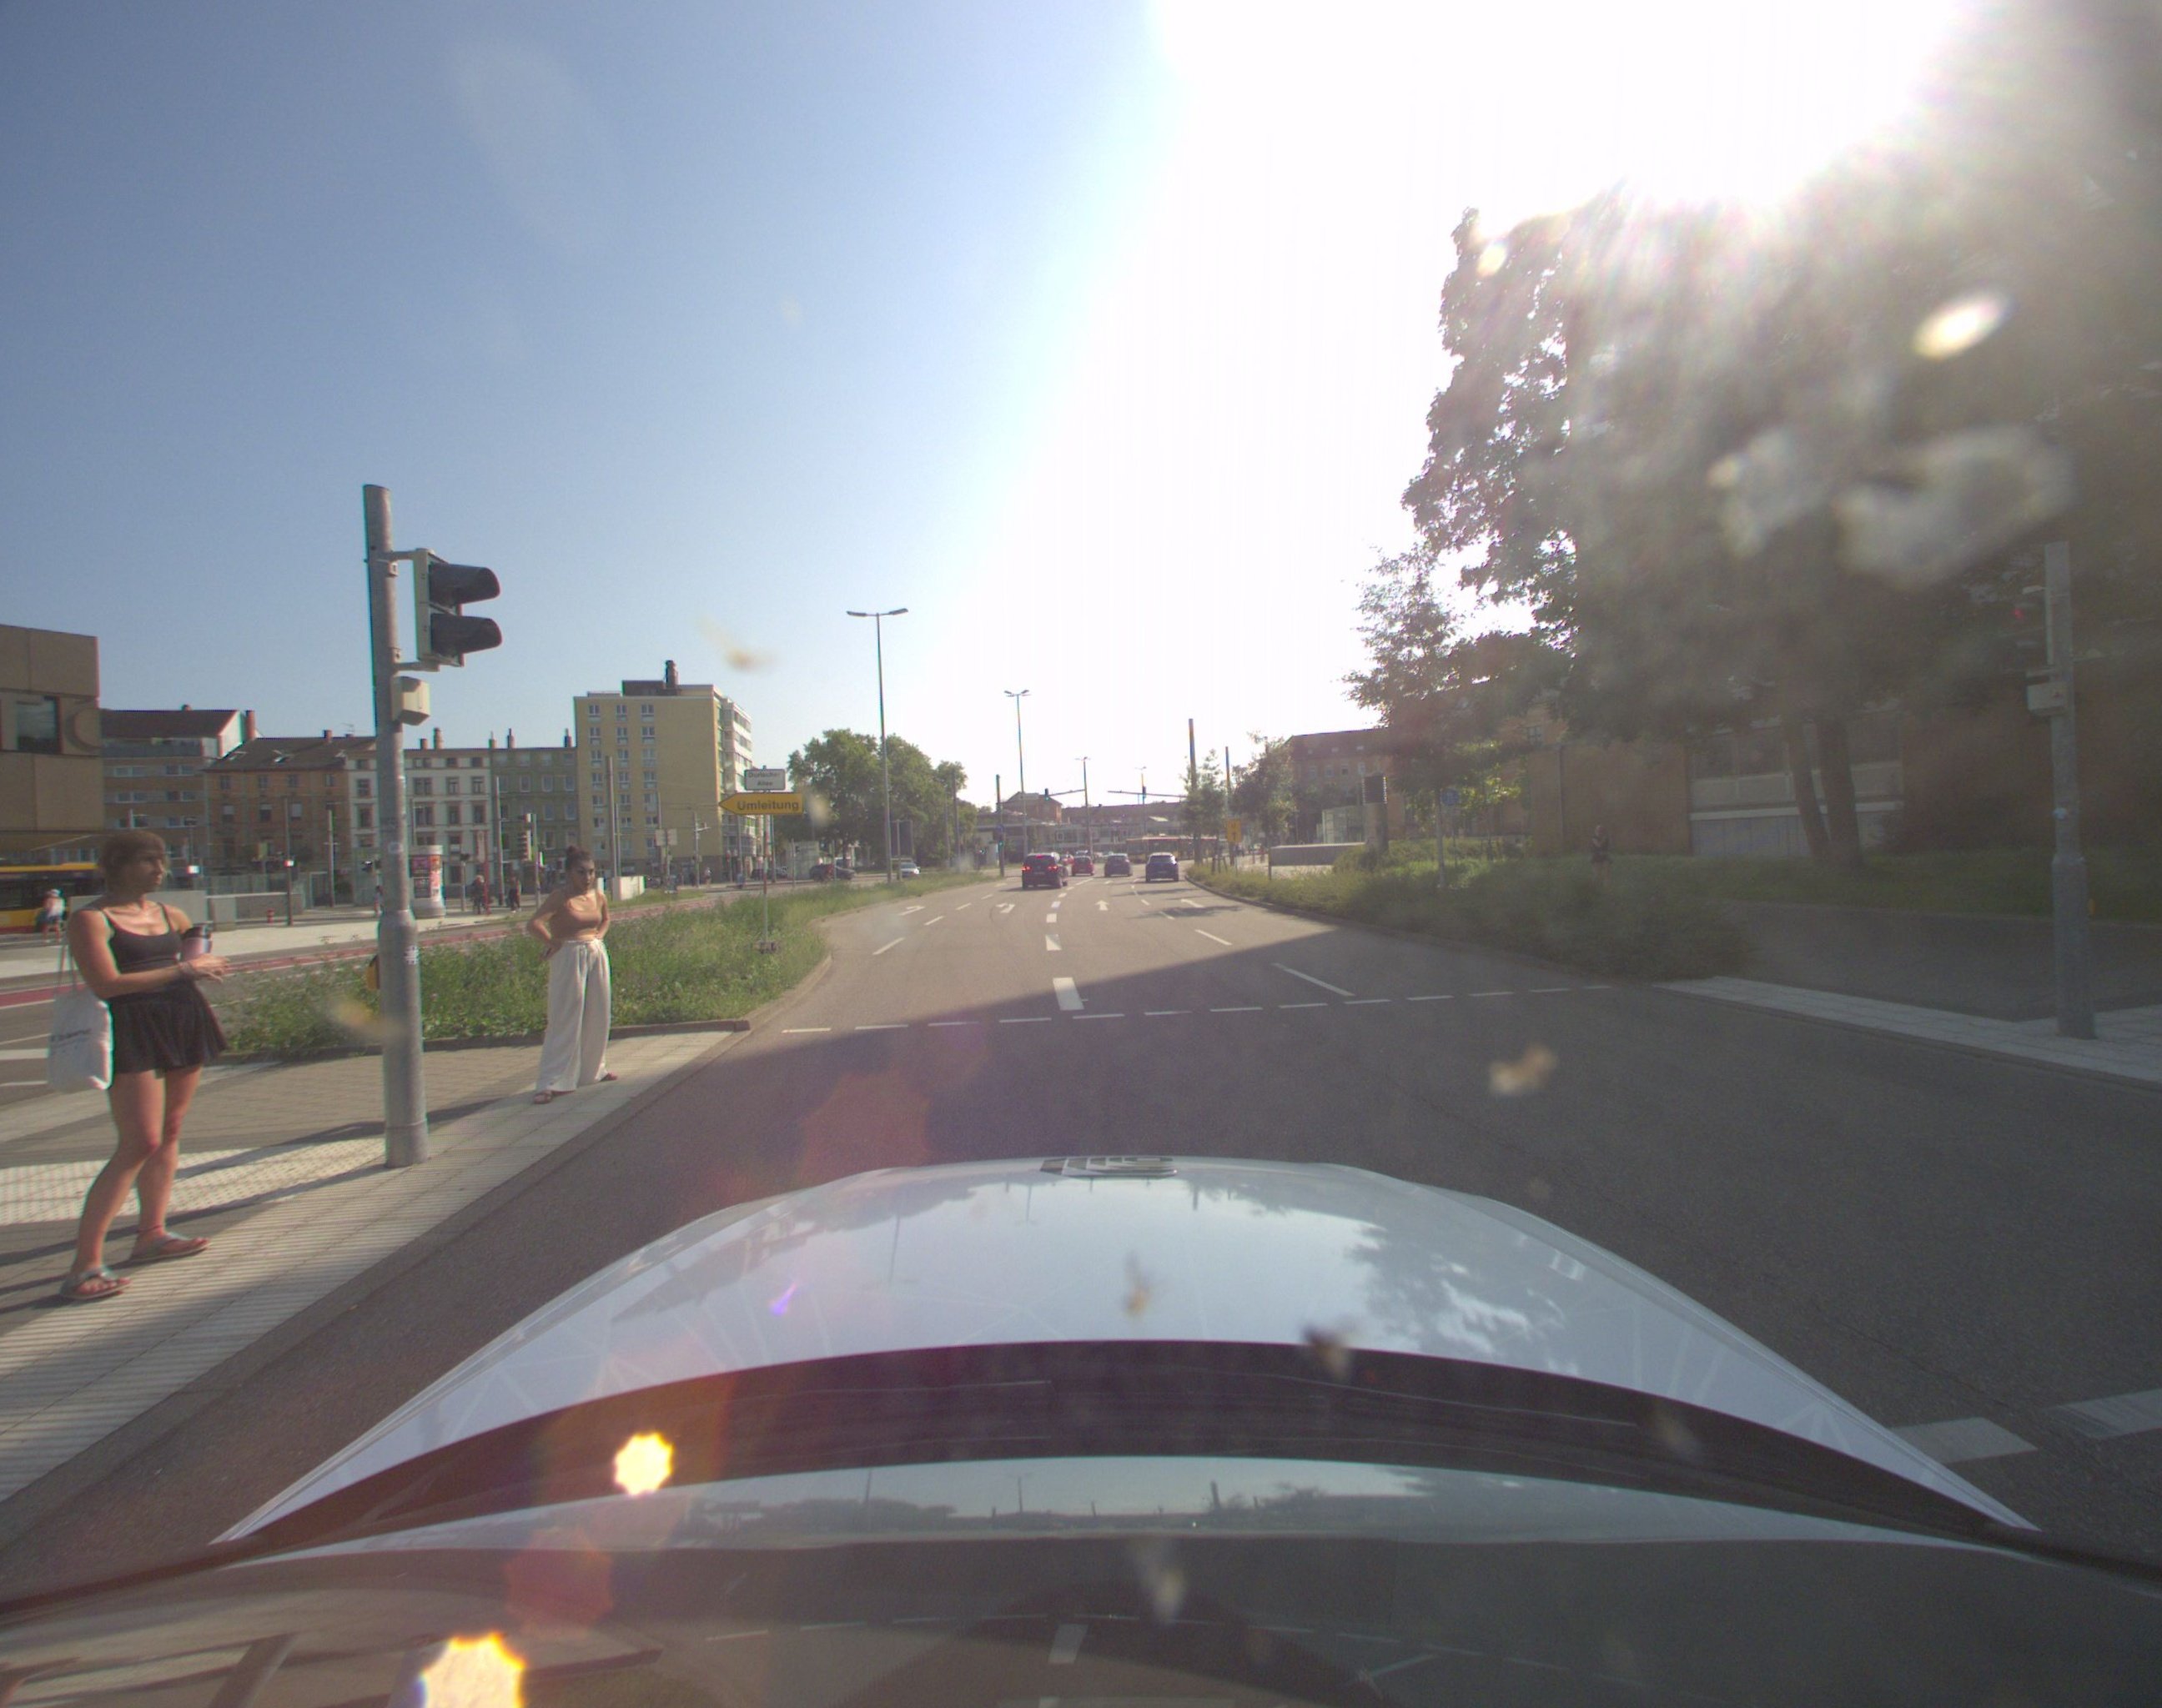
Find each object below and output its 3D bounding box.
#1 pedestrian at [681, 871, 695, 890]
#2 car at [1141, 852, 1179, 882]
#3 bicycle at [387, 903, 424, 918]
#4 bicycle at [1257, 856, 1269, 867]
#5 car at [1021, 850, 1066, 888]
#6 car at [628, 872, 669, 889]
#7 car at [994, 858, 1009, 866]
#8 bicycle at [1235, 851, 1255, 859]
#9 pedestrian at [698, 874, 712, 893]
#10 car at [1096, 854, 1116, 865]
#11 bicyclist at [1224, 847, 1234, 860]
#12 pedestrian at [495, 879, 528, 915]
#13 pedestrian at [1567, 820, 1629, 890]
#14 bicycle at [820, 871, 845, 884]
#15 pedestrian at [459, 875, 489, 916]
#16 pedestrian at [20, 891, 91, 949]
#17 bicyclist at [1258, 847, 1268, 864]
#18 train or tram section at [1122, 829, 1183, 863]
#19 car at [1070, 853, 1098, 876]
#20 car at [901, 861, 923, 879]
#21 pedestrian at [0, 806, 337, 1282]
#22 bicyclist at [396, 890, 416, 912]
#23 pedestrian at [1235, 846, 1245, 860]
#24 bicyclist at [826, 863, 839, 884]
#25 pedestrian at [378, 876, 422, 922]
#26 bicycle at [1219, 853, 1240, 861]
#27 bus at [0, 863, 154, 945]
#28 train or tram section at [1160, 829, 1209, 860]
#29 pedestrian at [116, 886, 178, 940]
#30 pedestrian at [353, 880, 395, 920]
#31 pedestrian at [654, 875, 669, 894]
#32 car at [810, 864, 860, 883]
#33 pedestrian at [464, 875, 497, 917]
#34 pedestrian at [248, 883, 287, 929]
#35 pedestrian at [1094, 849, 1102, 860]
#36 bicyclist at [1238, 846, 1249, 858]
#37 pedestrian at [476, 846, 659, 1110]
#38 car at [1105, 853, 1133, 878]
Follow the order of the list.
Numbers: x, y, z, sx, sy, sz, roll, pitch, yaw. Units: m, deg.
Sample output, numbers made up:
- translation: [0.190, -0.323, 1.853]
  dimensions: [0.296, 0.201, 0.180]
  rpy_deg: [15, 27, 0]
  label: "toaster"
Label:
- translation: [-36.479, 2.429, 75.628]
  dimensions: [0.923, 1.690, 0.918]
  rpy_deg: [-2, 0, -13]
  label: "pedestrian"
- translation: [4.318, 0.682, 44.905]
  dimensions: [1.818, 1.428, 4.415]
  rpy_deg: [-3, 0, 3]
  label: "car"
- translation: [-47.530, 3.982, 57.317]
  dimensions: [1.811, 0.932, 0.724]
  rpy_deg: [-3, 0, -7]
  label: "bicycle"
- translation: [16.347, 0.649, 73.084]
  dimensions: [0.713, 0.959, 1.931]
  rpy_deg: [-3, 0, 20]
  label: "bicycle"
- translation: [-1.790, 0.682, 40.120]
  dimensions: [1.818, 1.714, 4.415]
  rpy_deg: [-1, 0, 3]
  label: "car"
- translation: [-47.500, 2.939, 89.356]
  dimensions: [4.491, 1.678, 2.013]
  rpy_deg: [-2, 0, 33]
  label: "car"
- translation: [-14.722, 1.462, 151.275]
  dimensions: [1.689, 1.522, 4.110]
  rpy_deg: [-2, 0, 9]
  label: "car"
- translation: [22.996, 0.124, 114.332]
  dimensions: [2.627, 0.964, 1.086]
  rpy_deg: [-3, 0, -20]
  label: "bicycle"
- translation: [-34.990, 2.739, 75.808]
  dimensions: [0.923, 1.690, 0.918]
  rpy_deg: [-2, 0, -13]
  label: "pedestrian"
- translation: [3.658, 0.749, 119.620]
  dimensions: [1.601, 1.475, 4.020]
  rpy_deg: [-5, -1, 19]
  label: "car"
- translation: [20.548, -0.036, 112.918]
  dimensions: [0.937, 1.799, 1.086]
  rpy_deg: [-3, 0, -19]
  label: "bicyclist"
- translation: [-26.066, 1.955, 37.276]
  dimensions: [0.855, 1.559, 0.996]
  rpy_deg: [-3, 0, 38]
  label: "pedestrian"
- translation: [11.058, 0.020, 17.453]
  dimensions: [0.722, 1.443, 0.857]
  rpy_deg: [-3, 0, 1]
  label: "pedestrian"
- translation: [-20.624, 1.968, 67.638]
  dimensions: [1.811, 0.932, 0.724]
  rpy_deg: [-3, 0, -7]
  label: "bicycle"
- translation: [-27.614, 1.865, 37.070]
  dimensions: [0.776, 1.800, 0.700]
  rpy_deg: [-3, 0, -4]
  label: "pedestrian"
- translation: [-31.826, 2.023, 25.283]
  dimensions: [0.986, 1.672, 0.863]
  rpy_deg: [-3, 0, -9]
  label: "pedestrian"
- translation: [16.341, 0.150, 73.111]
  dimensions: [0.713, 1.513, 1.009]
  rpy_deg: [-3, 0, 20]
  label: "bicyclist"
- translation: [8.636, -1.022, 96.841]
  dimensions: [2.629, 3.699, 10.657]
  rpy_deg: [-3, 0, 31]
  label: "train or tram section"
- translation: [0.249, 0.754, 61.685]
  dimensions: [1.818, 1.535, 4.415]
  rpy_deg: [-3, 0, 3]
  label: "car"
- translation: [-14.602, 1.380, 70.365]
  dimensions: [1.815, 1.433, 4.207]
  rpy_deg: [-3, 0, -12]
  label: "car"
- translation: [-3.725, 0.689, 3.329]
  dimensions: [0.666, 1.699, 0.690]
  rpy_deg: [-3, 0, -7]
  label: "pedestrian"
- translation: [-47.516, 3.305, 57.325]
  dimensions: [0.793, 1.527, 0.724]
  rpy_deg: [-3, 0, -7]
  label: "bicyclist"
- translation: [21.793, -0.129, 111.692]
  dimensions: [0.932, 1.797, 0.850]
  rpy_deg: [-3, 0, -37]
  label: "pedestrian"
- translation: [-20.626, 1.622, 67.640]
  dimensions: [0.880, 1.652, 0.724]
  rpy_deg: [-3, 0, -7]
  label: "bicyclist"
- translation: [-27.330, 1.791, 32.675]
  dimensions: [0.980, 1.770, 0.869]
  rpy_deg: [-3, 0, 13]
  label: "pedestrian"
- translation: [20.581, 0.385, 112.925]
  dimensions: [2.627, 0.964, 1.086]
  rpy_deg: [-3, 0, -20]
  label: "bicycle"
- translation: [-45.150, 2.164, 31.257]
  dimensions: [2.681, 3.108, 12.293]
  rpy_deg: [-3, 0, 32]
  label: "bus"
- translation: [13.640, -1.317, 106.192]
  dimensions: [2.681, 3.699, 10.654]
  rpy_deg: [-3, 0, 28]
  label: "train or tram section"
- translation: [-31.354, 1.975, 27.363]
  dimensions: [0.986, 1.705, 0.863]
  rpy_deg: [-3, 0, -9]
  label: "pedestrian"
- translation: [-29.329, 1.917, 33.785]
  dimensions: [0.979, 1.563, 0.870]
  rpy_deg: [-3, 0, 18]
  label: "pedestrian"
- translation: [-38.434, 2.797, 74.608]
  dimensions: [0.923, 1.690, 0.918]
  rpy_deg: [-2, 0, -13]
  label: "pedestrian"
- translation: [-24.296, 1.922, 80.662]
  dimensions: [4.446, 1.617, 1.694]
  rpy_deg: [-3, 0, -9]
  label: "car"
- translation: [-26.790, 1.853, 36.340]
  dimensions: [0.792, 1.800, 0.782]
  rpy_deg: [-3, 0, 8]
  label: "pedestrian"
- translation: [-33.070, 2.102, 33.113]
  dimensions: [0.776, 1.800, 0.700]
  rpy_deg: [-3, 0, -4]
  label: "pedestrian"
- translation: [2.213, 0.061, 108.332]
  dimensions: [0.771, 1.503, 0.714]
  rpy_deg: [-3, 0, 19]
  label: "pedestrian"
- translation: [22.799, -0.234, 114.260]
  dimensions: [0.937, 1.680, 1.086]
  rpy_deg: [-3, 0, -19]
  label: "bicyclist"
- translation: [-3.532, 0.792, 5.635]
  dimensions: [0.660, 1.654, 0.784]
  rpy_deg: [-3, 0, 29]
  label: "pedestrian"
- translation: [2.651, 0.775, 56.762]
  dimensions: [1.818, 1.535, 4.415]
  rpy_deg: [-3, 0, 3]
  label: "car"
